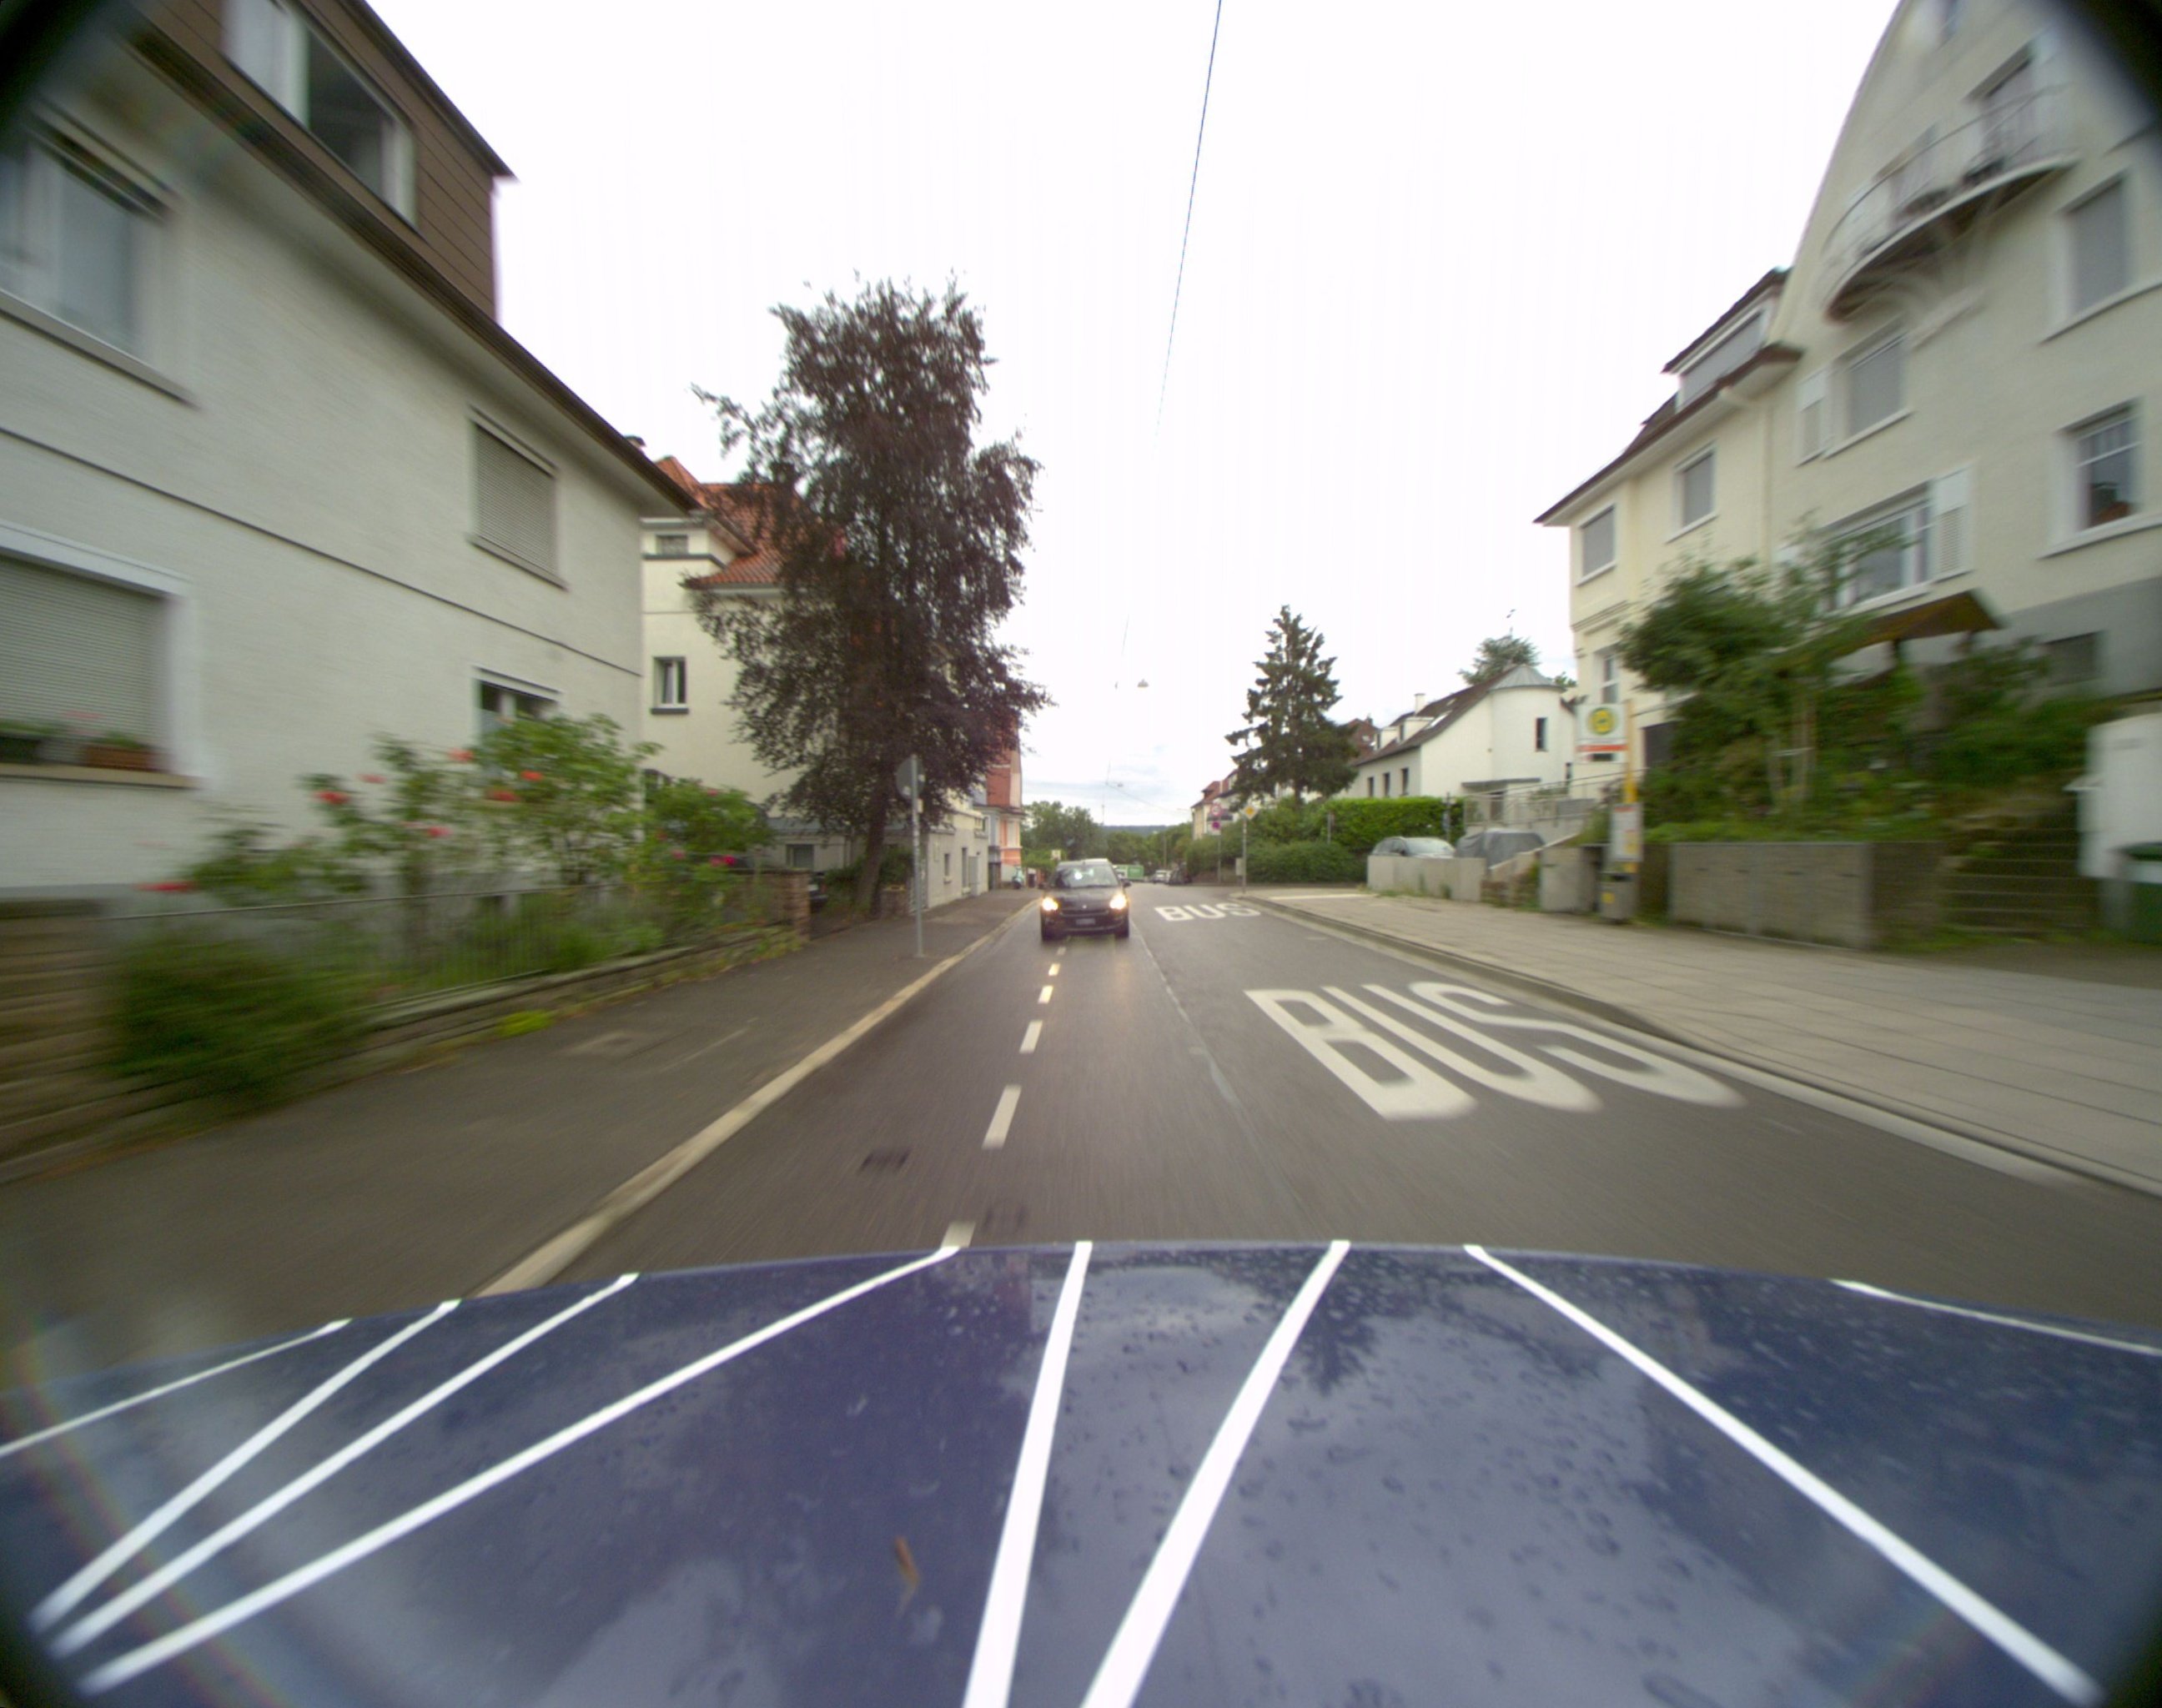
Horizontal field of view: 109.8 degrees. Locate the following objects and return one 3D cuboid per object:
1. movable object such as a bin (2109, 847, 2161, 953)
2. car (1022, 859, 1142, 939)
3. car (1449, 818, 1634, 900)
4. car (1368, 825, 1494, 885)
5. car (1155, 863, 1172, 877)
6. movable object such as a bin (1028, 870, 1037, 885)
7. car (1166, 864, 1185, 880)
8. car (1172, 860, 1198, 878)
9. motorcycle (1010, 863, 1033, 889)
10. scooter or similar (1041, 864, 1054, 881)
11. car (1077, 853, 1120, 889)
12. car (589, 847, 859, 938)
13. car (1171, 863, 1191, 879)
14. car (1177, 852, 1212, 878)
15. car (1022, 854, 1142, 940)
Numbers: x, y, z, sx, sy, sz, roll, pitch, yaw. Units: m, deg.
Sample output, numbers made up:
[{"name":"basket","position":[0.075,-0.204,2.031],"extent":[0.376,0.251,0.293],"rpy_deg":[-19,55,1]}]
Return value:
[{"name":"movable object such as a bin","position":[11.009,0.455,7.654],"extent":[0.575,1.052,0.513],"rpy_deg":[-1,-1,1]},{"name":"car","position":[0.160,0.838,15.500],"extent":[1.710,1.413,4.004],"rpy_deg":[-1,-1,11]},{"name":"car","position":[10.648,0.145,17.961],"extent":[1.770,1.686,3.999],"rpy_deg":[-1,-1,-3]},{"name":"car","position":[10.345,0.069,22.823],"extent":[1.770,1.608,3.999],"rpy_deg":[-1,-1,-3]},{"name":"car","position":[9.794,1.899,90.609],"extent":[1.868,1.492,4.002],"rpy_deg":[-1,-1,4]},{"name":"movable object such as a bin","position":[-3.115,1.485,48.661],"extent":[0.533,0.913,0.488],"rpy_deg":[2,-1,-1]},{"name":"car","position":[9.654,1.862,78.102],"extent":[1.594,1.482,3.438],"rpy_deg":[-2,-1,2]},{"name":"car","position":[9.405,1.374,69.003],"extent":[1.696,1.482,4.404],"rpy_deg":[-2,-2,-1]},{"name":"motorcycle","position":[-3.051,1.118,38.862],"extent":[0.694,1.219,2.154],"rpy_deg":[6,0,5]},{"name":"scooter or similar","position":[-2.632,1.461,60.285],"extent":[0.355,1.394,1.481],"rpy_deg":[-1,-1,26]},{"name":"car","position":[0.860,0.815,36.880],"extent":[1.928,1.577,4.001],"rpy_deg":[-1,-1,1]},{"name":"car","position":[-6.654,0.694,14.495],"extent":[4.156,1.478,1.976],"rpy_deg":[-1,4,5]},{"name":"car","position":[9.669,1.670,73.534],"extent":[1.521,1.482,2.895],"rpy_deg":[-2,-1,1]},{"name":"car","position":[9.307,0.947,62.704],"extent":[1.999,1.945,4.775],"rpy_deg":[-2,-1,-1]},{"name":"car","position":[0.160,0.807,15.501],"extent":[1.695,1.482,3.944],"rpy_deg":[-2,-2,11]}]
